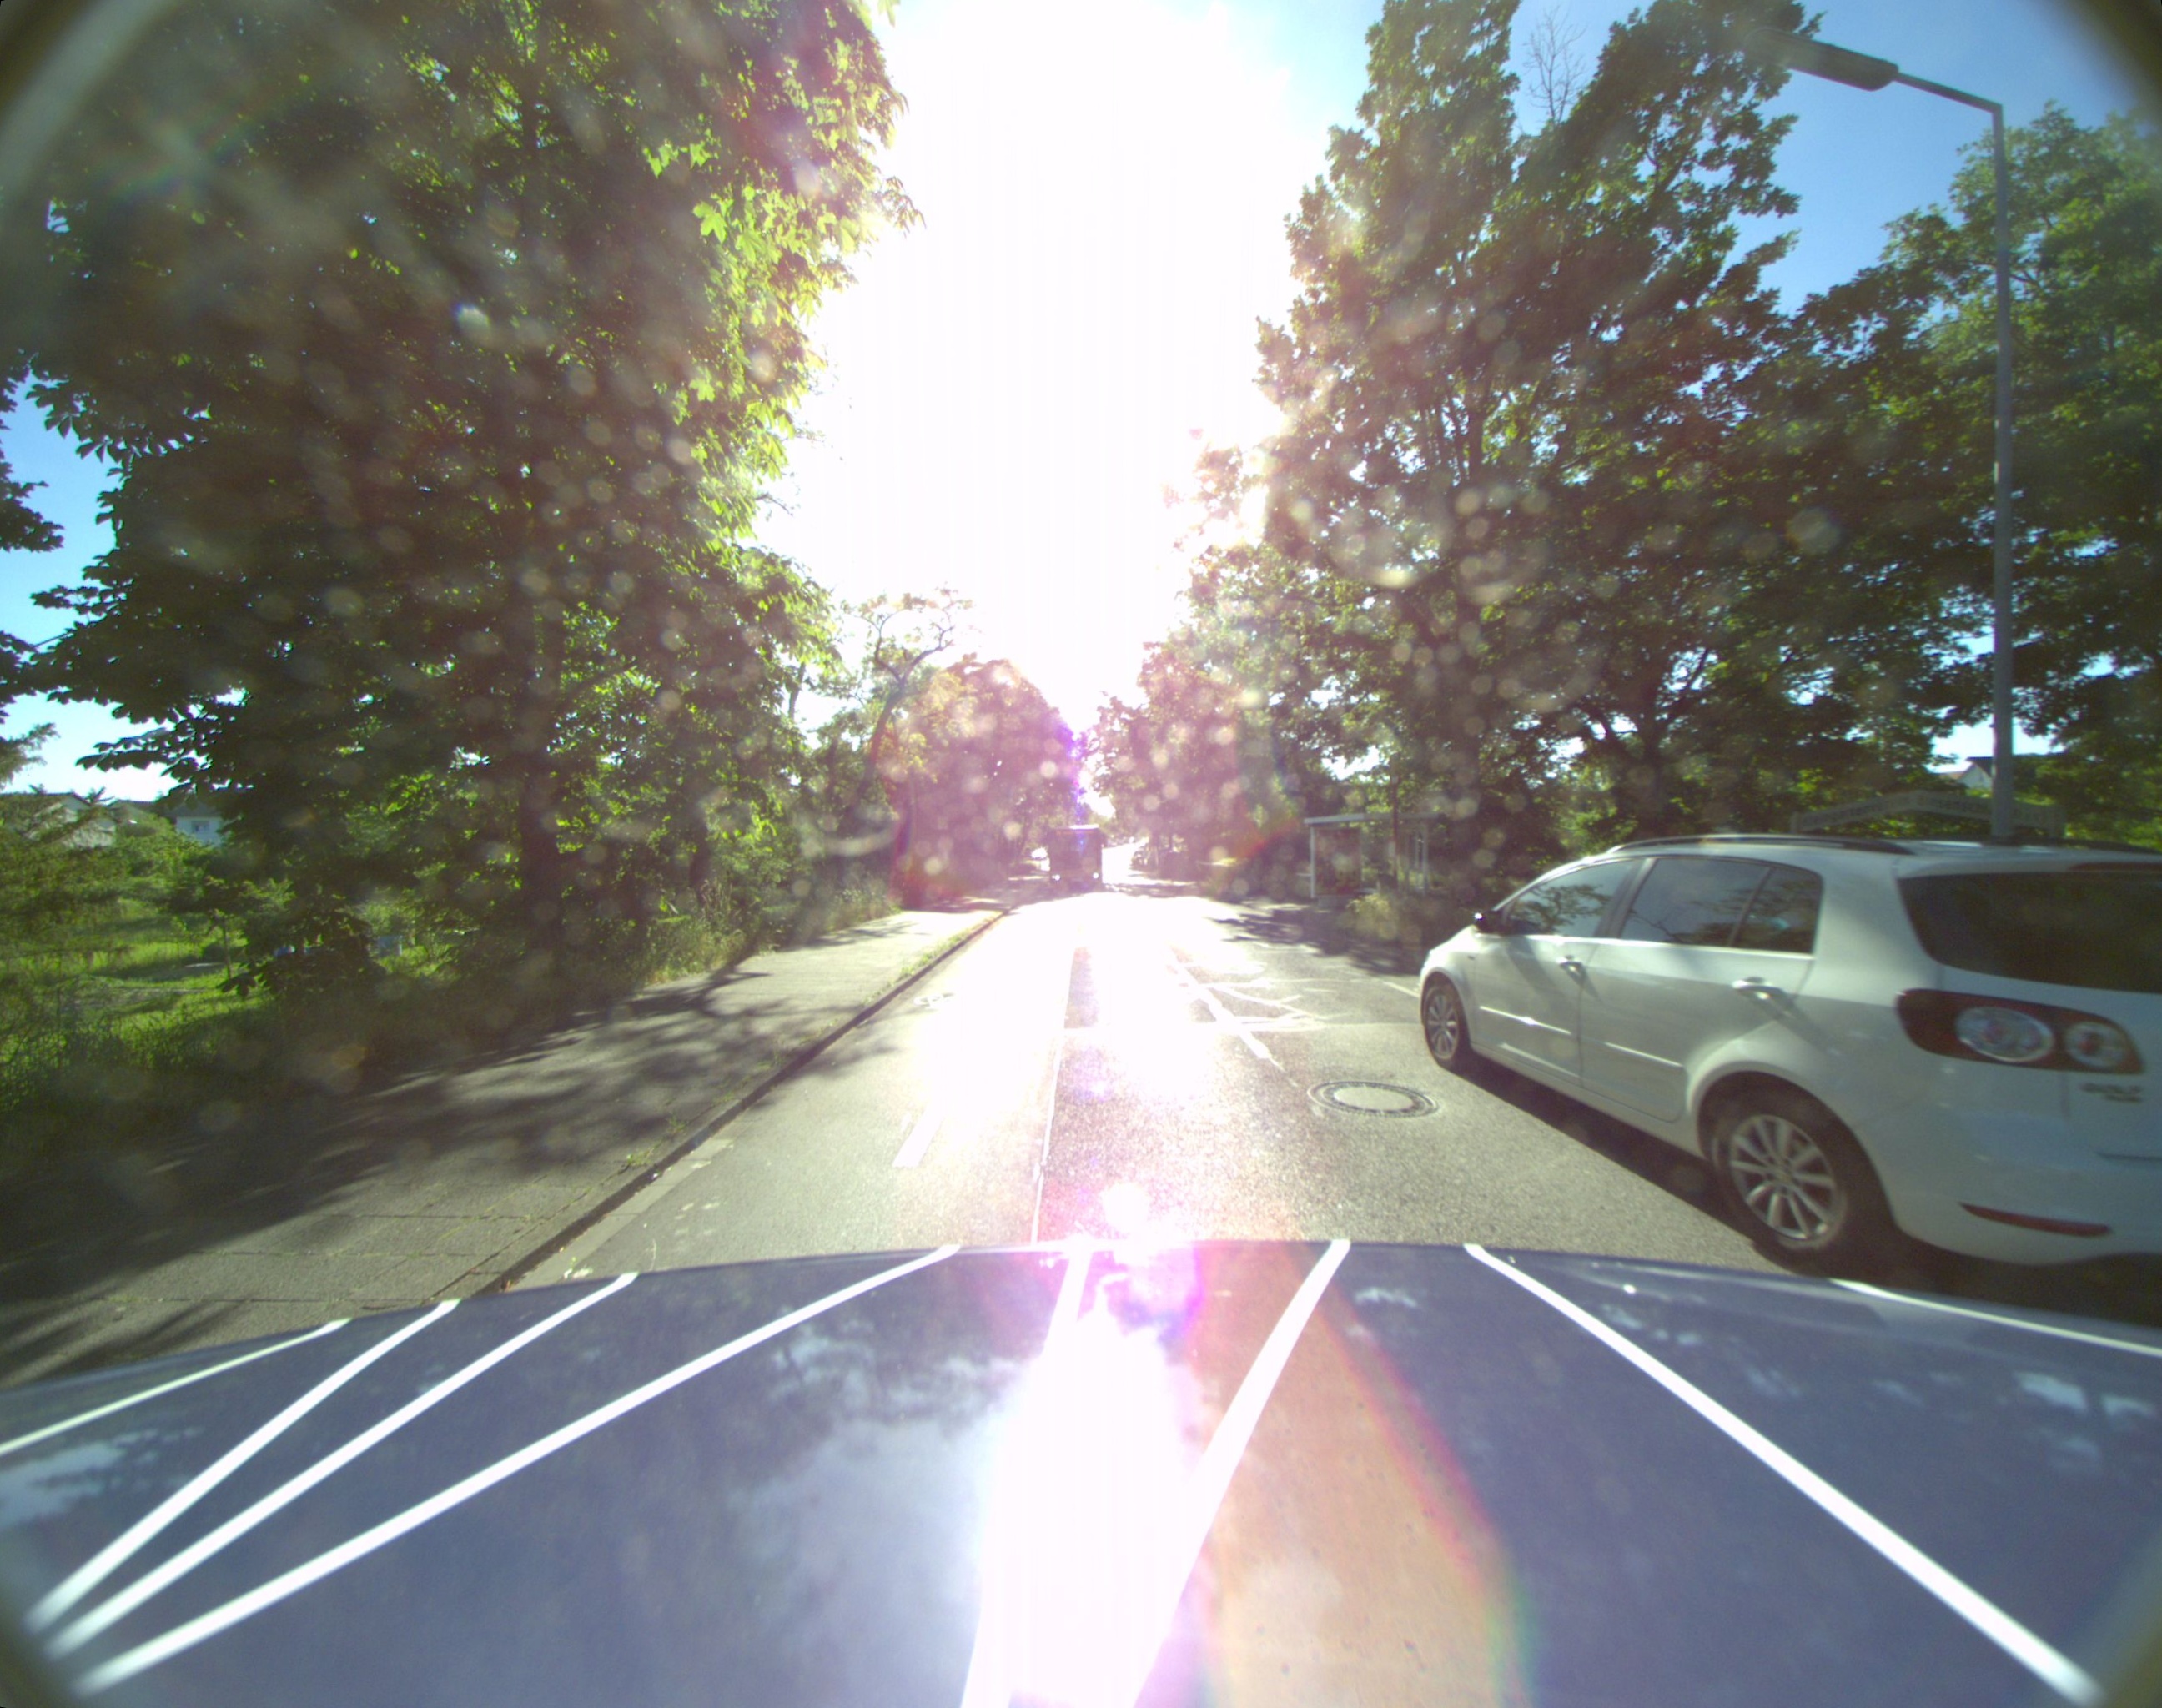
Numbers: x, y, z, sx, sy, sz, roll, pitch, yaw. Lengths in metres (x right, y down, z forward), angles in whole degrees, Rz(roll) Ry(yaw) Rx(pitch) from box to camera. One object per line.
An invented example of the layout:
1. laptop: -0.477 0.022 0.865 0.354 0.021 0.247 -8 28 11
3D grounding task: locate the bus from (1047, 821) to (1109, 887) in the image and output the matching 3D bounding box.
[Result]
1. bus: -0.216 0.004 42.028 2.790 2.965 12.893 -2 0 -1

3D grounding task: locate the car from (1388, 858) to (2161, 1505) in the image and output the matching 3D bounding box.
1. car: 3.305 0.825 3.925 1.756 1.554 4.120 0 0 0
